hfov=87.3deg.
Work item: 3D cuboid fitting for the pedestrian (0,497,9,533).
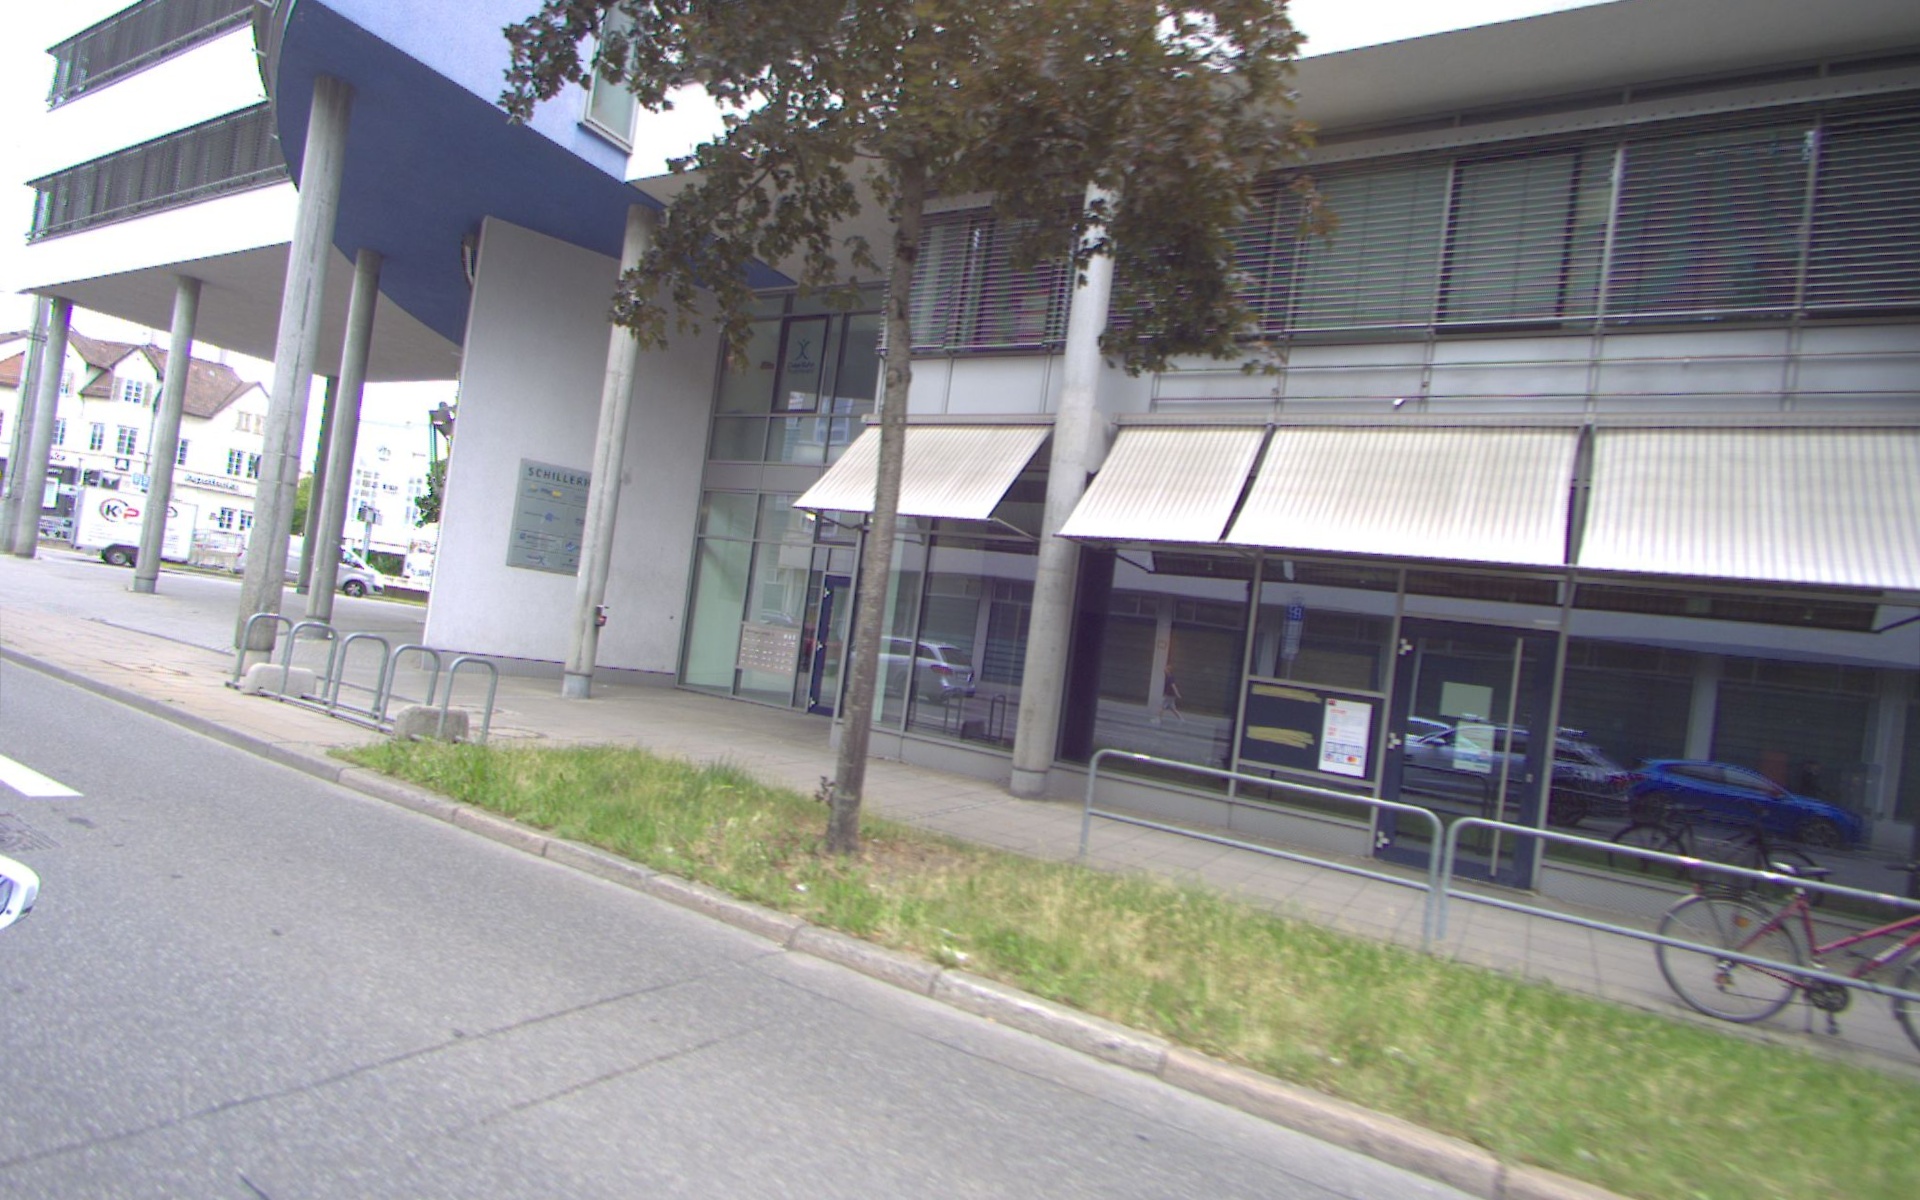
[{"bbox_3d":[-48.525,-4.336,50.535,0.775,1.737,0.650,8,-2,26],"label":"pedestrian"}]

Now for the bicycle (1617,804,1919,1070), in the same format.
[{"bbox_3d":[4.874,1.880,5.526,1.993,1.098,0.362,7,-2,30],"label":"bicycle"}]

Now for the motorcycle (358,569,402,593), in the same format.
[{"bbox_3d":[-34.321,-1.147,59.550,1.947,1.085,0.763,8,-3,-8],"label":"motorcycle"}]

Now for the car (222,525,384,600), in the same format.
[{"bbox_3d":[-24.863,-1.367,38.314,4.859,1.966,1.870,10,-4,-31],"label":"car"}]

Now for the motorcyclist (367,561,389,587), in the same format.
[{"bbox_3d":[-34.428,-1.546,59.539,0.681,1.409,0.763,8,-3,-8],"label":"motorcyclist"}]

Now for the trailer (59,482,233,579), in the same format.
[{"bbox_3d":[-28.555,-2.393,35.400,1.858,2.642,4.306,6,-3,42],"label":"trailer"}]
